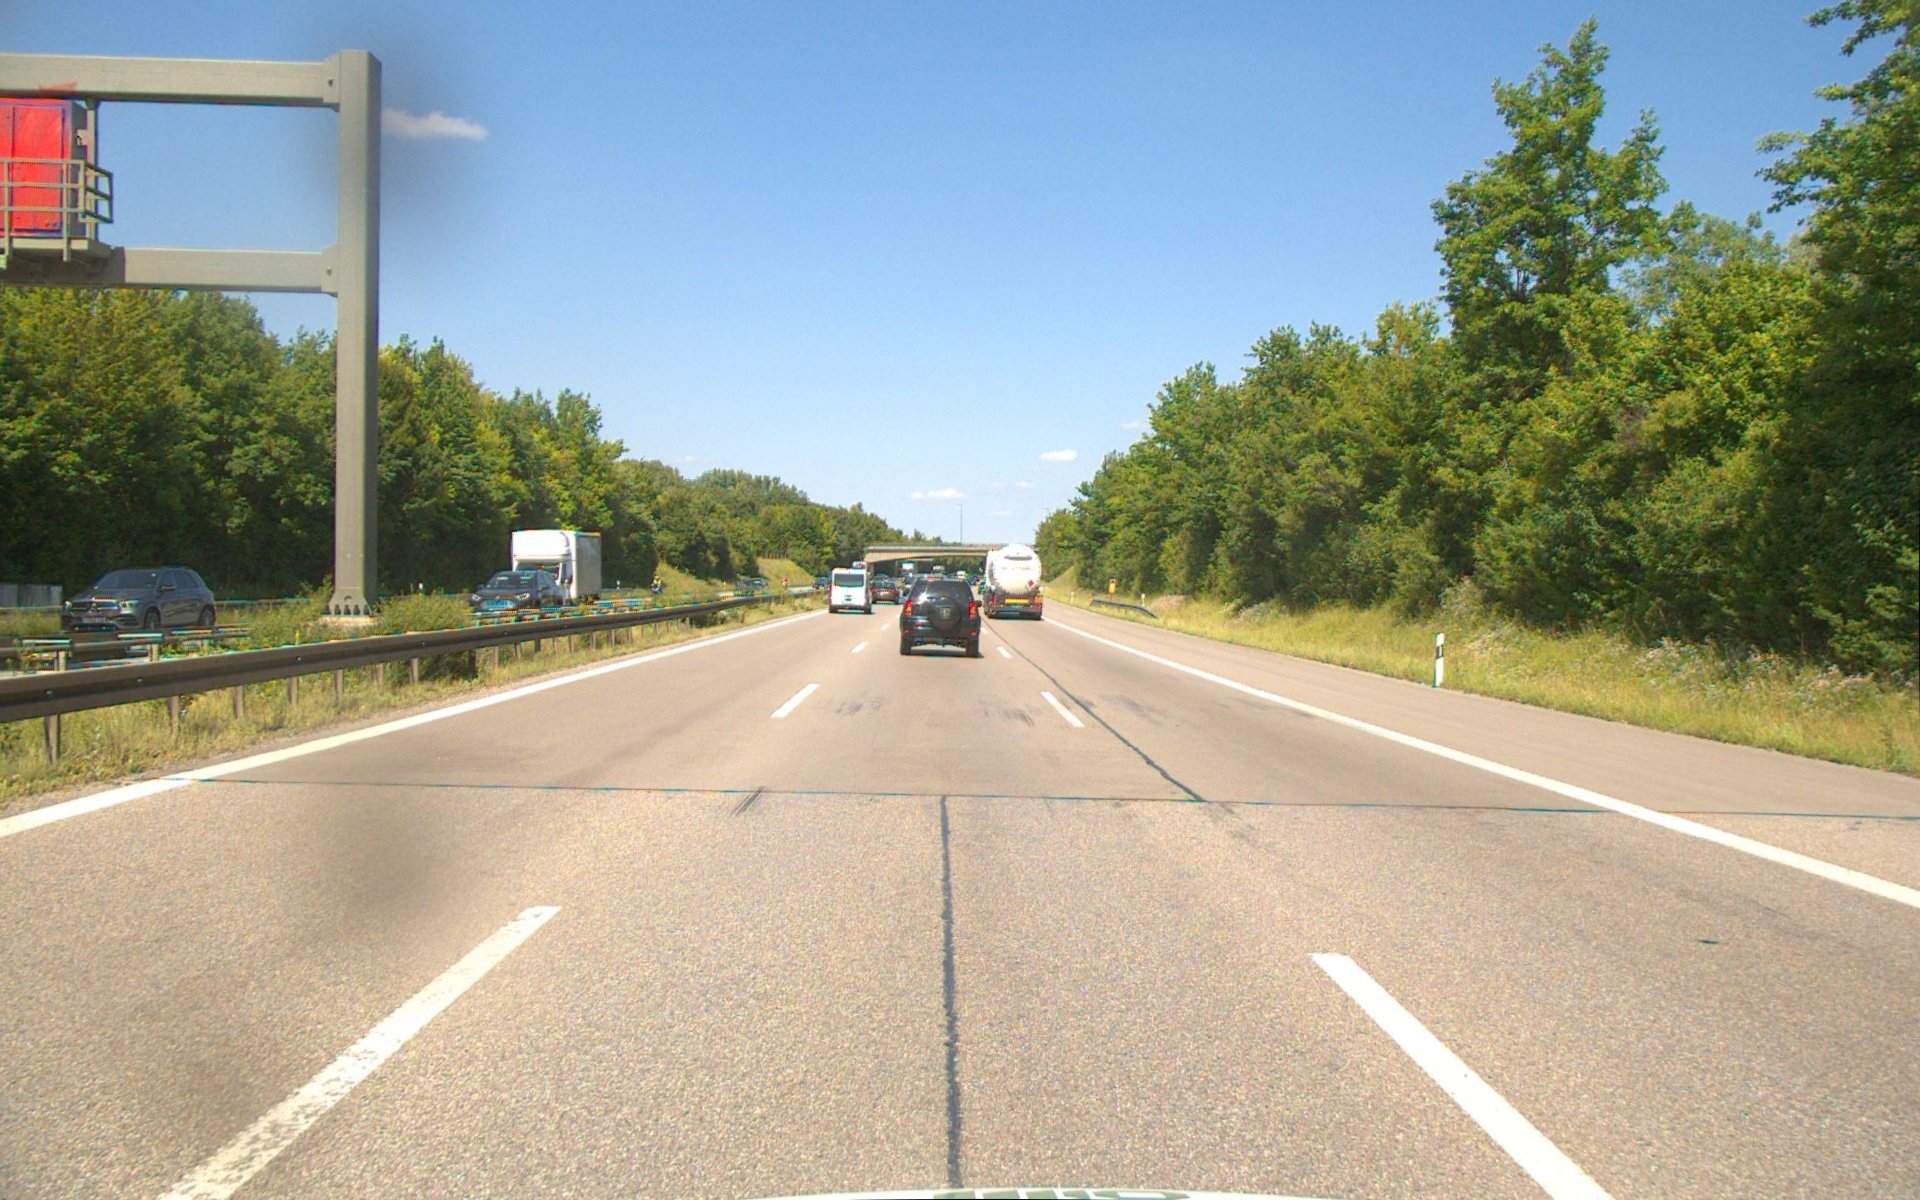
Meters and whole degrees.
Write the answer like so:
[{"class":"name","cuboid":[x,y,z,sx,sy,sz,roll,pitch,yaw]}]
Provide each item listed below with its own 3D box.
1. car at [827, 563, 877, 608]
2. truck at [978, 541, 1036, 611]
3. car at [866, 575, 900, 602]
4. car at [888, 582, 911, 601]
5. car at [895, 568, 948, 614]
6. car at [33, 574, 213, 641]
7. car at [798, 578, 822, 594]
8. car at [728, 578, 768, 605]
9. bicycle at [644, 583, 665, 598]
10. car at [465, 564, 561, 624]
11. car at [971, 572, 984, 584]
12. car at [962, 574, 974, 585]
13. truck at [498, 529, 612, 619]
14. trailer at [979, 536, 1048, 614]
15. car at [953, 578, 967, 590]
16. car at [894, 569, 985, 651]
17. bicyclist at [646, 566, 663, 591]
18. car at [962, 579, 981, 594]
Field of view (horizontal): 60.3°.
[{"class":"car","cuboid":[-5.013,-0.688,77.225,1.952,2.049,4.950,0,1,0]},{"class":"truck","cuboid":[2.382,-1.274,86.520,2.585,3.433,6.486,2,1,-2]},{"class":"car","cuboid":[-4.810,-0.711,104.050,1.953,1.579,3.999,1,0,-1]},{"class":"car","cuboid":[-5.289,-0.765,144.363,1.953,1.601,3.999,0,1,-1]},{"class":"car","cuboid":[-1.463,-0.373,64.358,1.953,1.735,4.336,0,1,0]},{"class":"car","cuboid":[-19.963,0.144,39.724,1.863,1.490,5.064,0,1,-1]},{"class":"car","cuboid":[-14.188,-1.327,156.837,1.953,1.547,4.427,0,1,-1]},{"class":"car","cuboid":[-13.213,-0.519,103.318,1.953,1.626,4.591,1,0,-1]},{"class":"bicycle","cuboid":[-19.739,-0.614,106.805,0.883,0.932,2.732,1,0,-1]},{"class":"car","cuboid":[-12.918,-0.199,48.020,1.742,1.646,4.059,1,1,-1]},{"class":"car","cuboid":[2.556,-3.204,241.976,1.775,1.777,4.001,1,1,1]},{"class":"car","cuboid":[1.254,-3.173,254.552,1.775,1.777,4.001,1,1,1]},{"class":"truck","cuboid":[-16.271,-0.971,67.026,2.723,3.362,8.055,1,0,-1]},{"class":"trailer","cuboid":[2.512,-1.213,80.876,2.595,3.449,11.149,2,1,-2]},{"class":"car","cuboid":[-0.030,-2.194,229.636,1.953,1.601,3.999,0,1,-1]},{"class":"car","cuboid":[-0.410,0.194,36.882,1.867,1.694,4.001,1,1,1]},{"class":"bicyclist","cuboid":[-19.721,-1.371,106.761,0.862,1.604,1.287,1,0,-1]},{"class":"car","cuboid":[1.215,-1.439,175.503,1.953,1.601,3.999,0,1,-1]}]
